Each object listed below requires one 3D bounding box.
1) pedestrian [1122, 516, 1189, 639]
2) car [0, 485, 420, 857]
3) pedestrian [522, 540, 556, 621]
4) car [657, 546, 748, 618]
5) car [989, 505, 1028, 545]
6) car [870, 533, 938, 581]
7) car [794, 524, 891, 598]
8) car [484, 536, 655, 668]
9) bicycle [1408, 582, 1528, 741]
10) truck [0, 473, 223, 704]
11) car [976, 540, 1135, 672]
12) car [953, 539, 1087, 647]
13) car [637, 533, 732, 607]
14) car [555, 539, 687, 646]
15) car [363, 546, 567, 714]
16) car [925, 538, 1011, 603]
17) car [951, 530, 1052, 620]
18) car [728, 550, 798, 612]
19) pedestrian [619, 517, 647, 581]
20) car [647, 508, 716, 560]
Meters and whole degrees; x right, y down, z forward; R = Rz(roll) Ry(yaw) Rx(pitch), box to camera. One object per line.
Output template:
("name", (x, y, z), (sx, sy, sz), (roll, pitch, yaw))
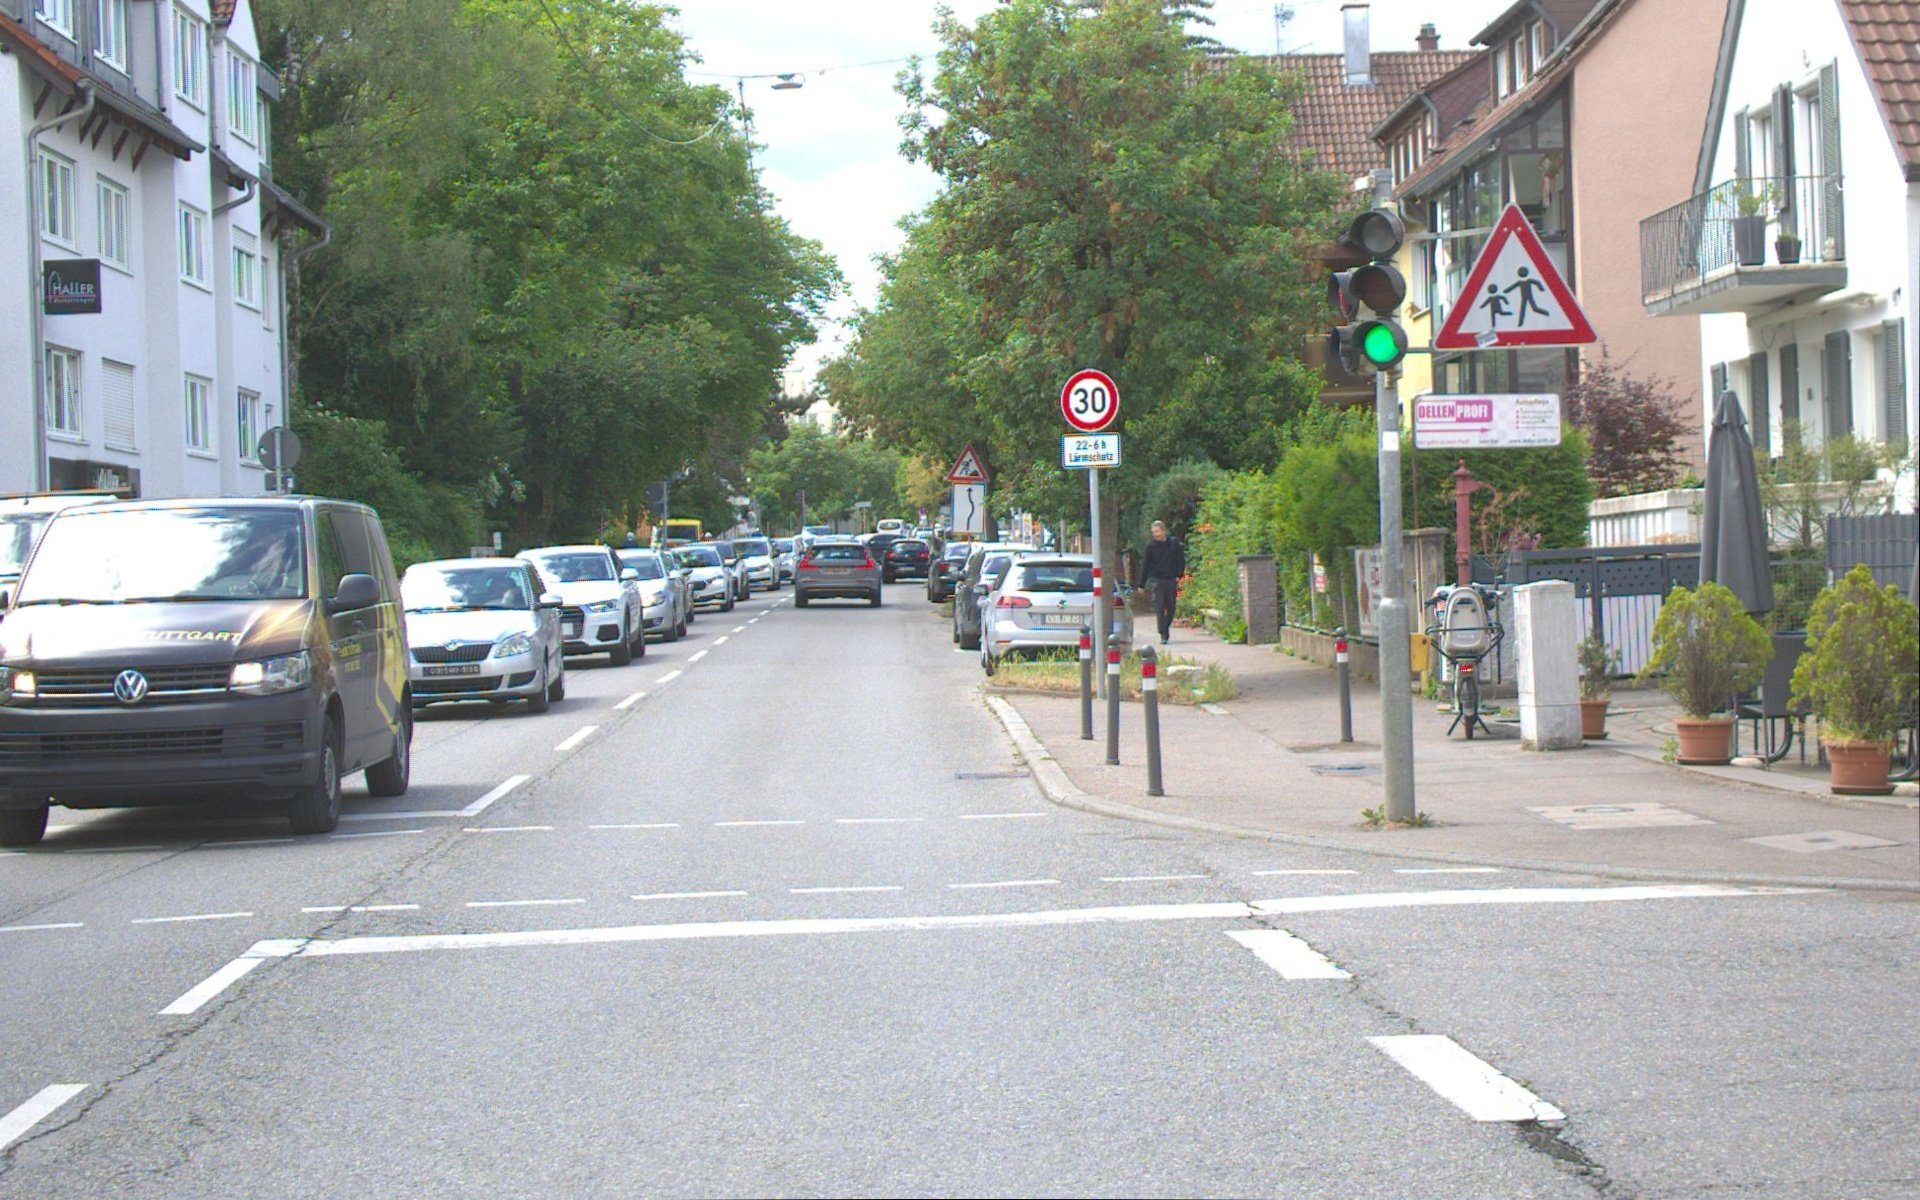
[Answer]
("pedestrian", (2.767, -0.319, 48.732), (0.880, 1.706, 0.842), (-1, 0, 0))
("car", (-4.387, 0.324, 20.264), (1.877, 1.906, 4.752), (-1, 1, -3))
("pedestrian", (-8.692, -0.401, 70.981), (0.653, 1.661, 0.932), (-1, 0, -6))
("car", (-6.313, -0.459, 84.702), (1.928, 1.541, 4.087), (-4, 2, -1))
("car", (2.554, -3.913, 180.445), (1.993, 2.007, 4.000), (-1, 1, 1))
("car", (-1.789, -1.397, 111.622), (1.816, 1.495, 4.266), (0, 1, 4))
("car", (-2.552, -0.885, 75.287), (1.976, 1.508, 4.267), (2, 1, -1))
("car", (-5.124, -0.018, 45.561), (1.806, 1.566, 4.159), (-3, 1, -1))
("bicycle", (3.892, 0.447, 26.453), (0.721, 1.146, 2.213), (-1, 1, 4))
("truck", (-10.184, -0.139, 38.724), (2.224, 2.372, 6.325), (-1, 1, 1))
("car", (1.102, 0.028, 41.808), (1.701, 1.475, 4.873), (0, 1, -1))
("car", (0.828, -0.134, 50.364), (1.734, 1.424, 4.883), (1, 1, -1))
("car", (-5.933, -0.671, 74.447), (1.759, 1.434, 3.971), (-3, 2, -1))
("car", (-5.350, -0.157, 54.714), (1.728, 1.497, 4.377), (-4, 2, -2))
("car", (-4.721, 0.244, 33.200), (1.617, 1.481, 3.814), (-1, 1, -4))
("car", (0.165, -0.714, 80.617), (1.801, 1.440, 4.887), (1, 1, -2))
("car", (0.717, -0.481, 61.668), (1.621, 1.502, 3.779), (-2, 1, -1))
("car", (-5.830, -0.585, 102.097), (1.786, 1.642, 4.491), (-3, 1, -1))
("pedestrian", (-9.093, -1.424, 95.592), (0.714, 1.756, 1.122), (-1, 0, -6))
("car", (-10.918, -2.576, 135.123), (2.146, 1.974, 4.931), (-1, 1, 1))
